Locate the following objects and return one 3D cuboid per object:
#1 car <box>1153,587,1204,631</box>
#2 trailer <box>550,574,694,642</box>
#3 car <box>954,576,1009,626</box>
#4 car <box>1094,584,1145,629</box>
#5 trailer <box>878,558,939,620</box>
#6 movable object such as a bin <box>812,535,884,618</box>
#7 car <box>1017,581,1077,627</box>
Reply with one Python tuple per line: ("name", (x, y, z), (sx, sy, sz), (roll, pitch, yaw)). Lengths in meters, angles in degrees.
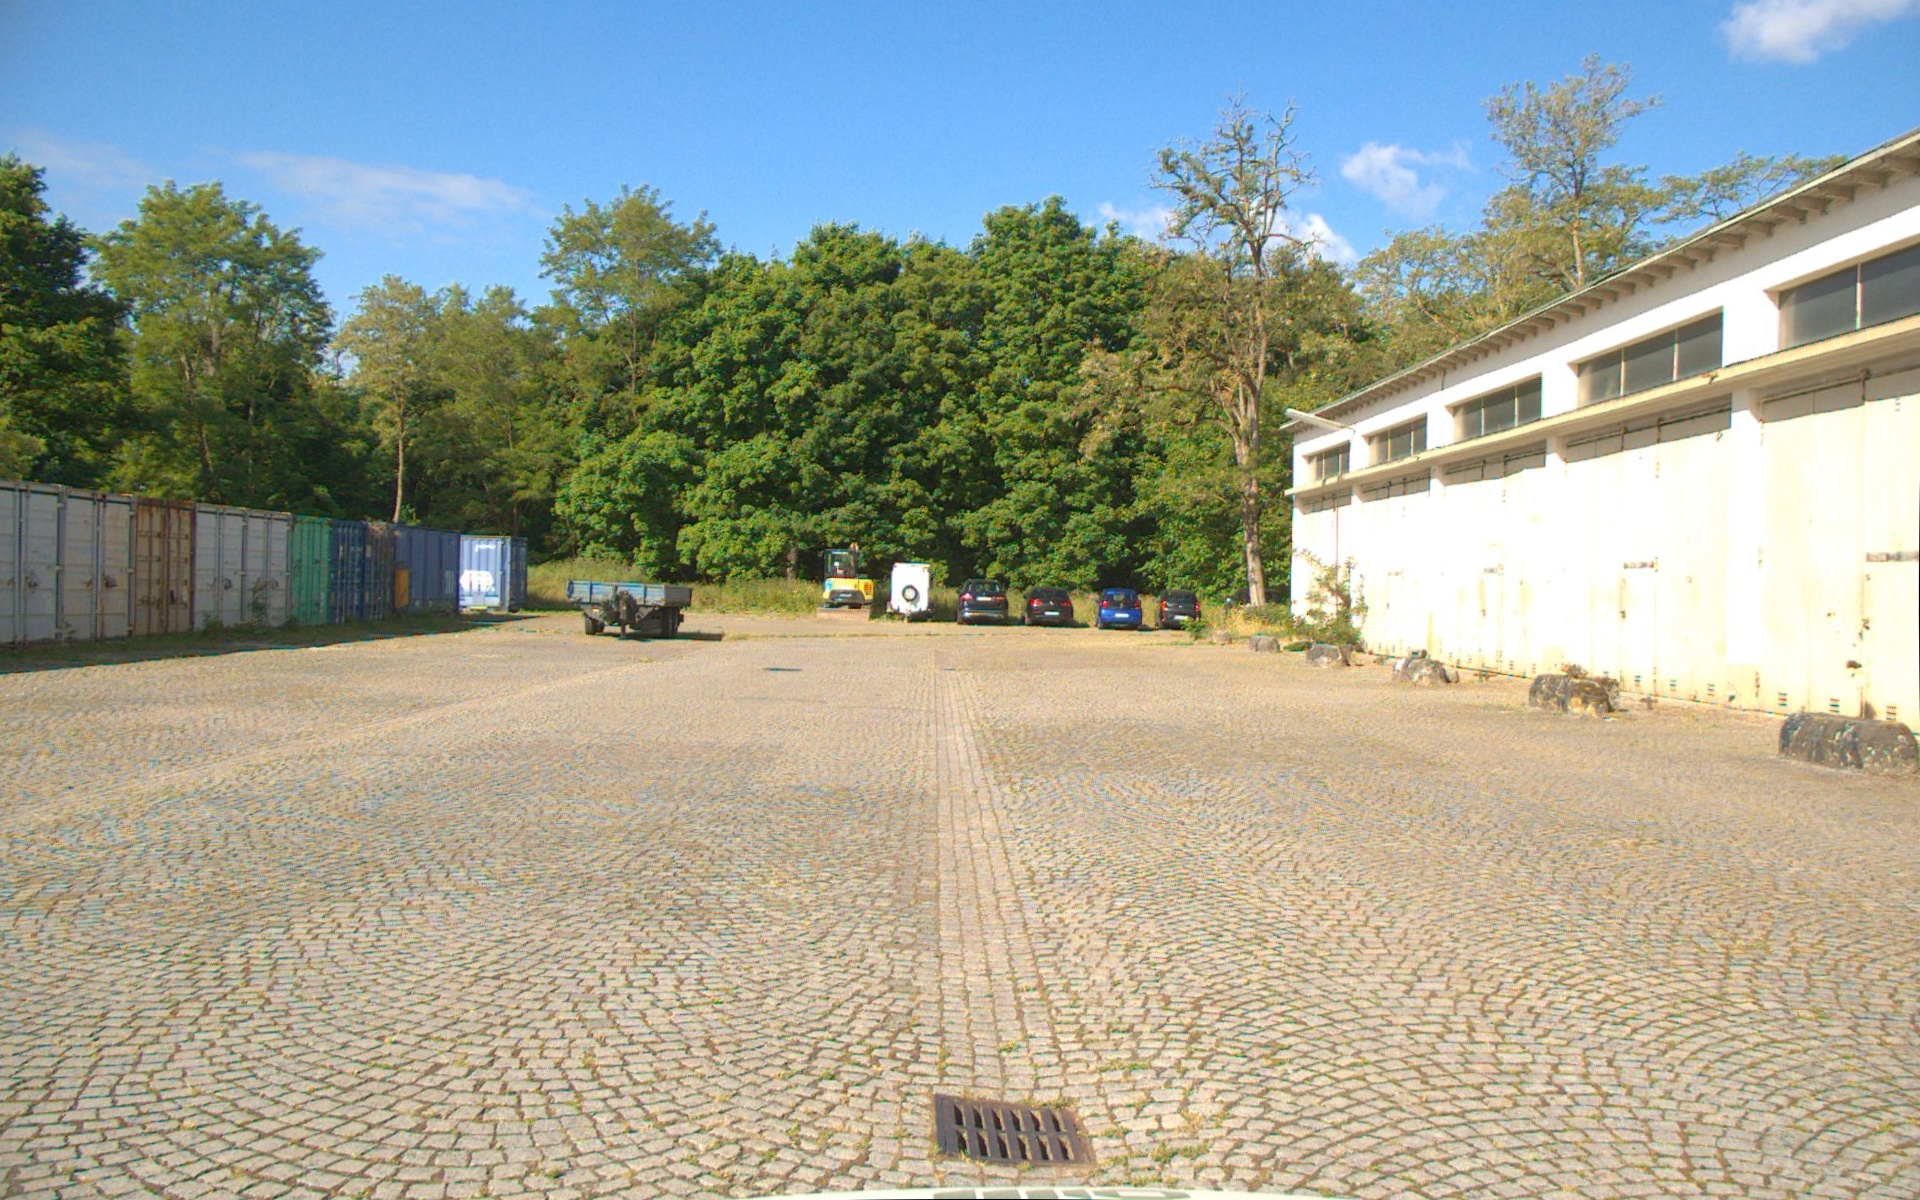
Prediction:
("car", (8.268, 0.319, 62.810), (1.707, 1.461, 4.186), (3, 2, 6))
("trailer", (-8.652, 0.144, 42.997), (2.651, 1.491, 6.245), (3, 1, -3))
("car", (0.751, 0.010, 60.923), (1.826, 1.616, 4.295), (3, 2, -1))
("car", (5.895, 0.197, 61.346), (1.707, 1.461, 4.185), (3, 2, 4))
("trailer", (-1.930, -0.467, 63.238), (2.149, 2.131, 5.750), (3, 2, -1))
("movable object such as a bin", (-4.262, -0.933, 63.776), (2.259, 2.947, 5.751), (3, 2, 0))
("car", (3.183, 0.119, 61.346), (1.826, 1.495, 4.295), (3, 2, -1))
